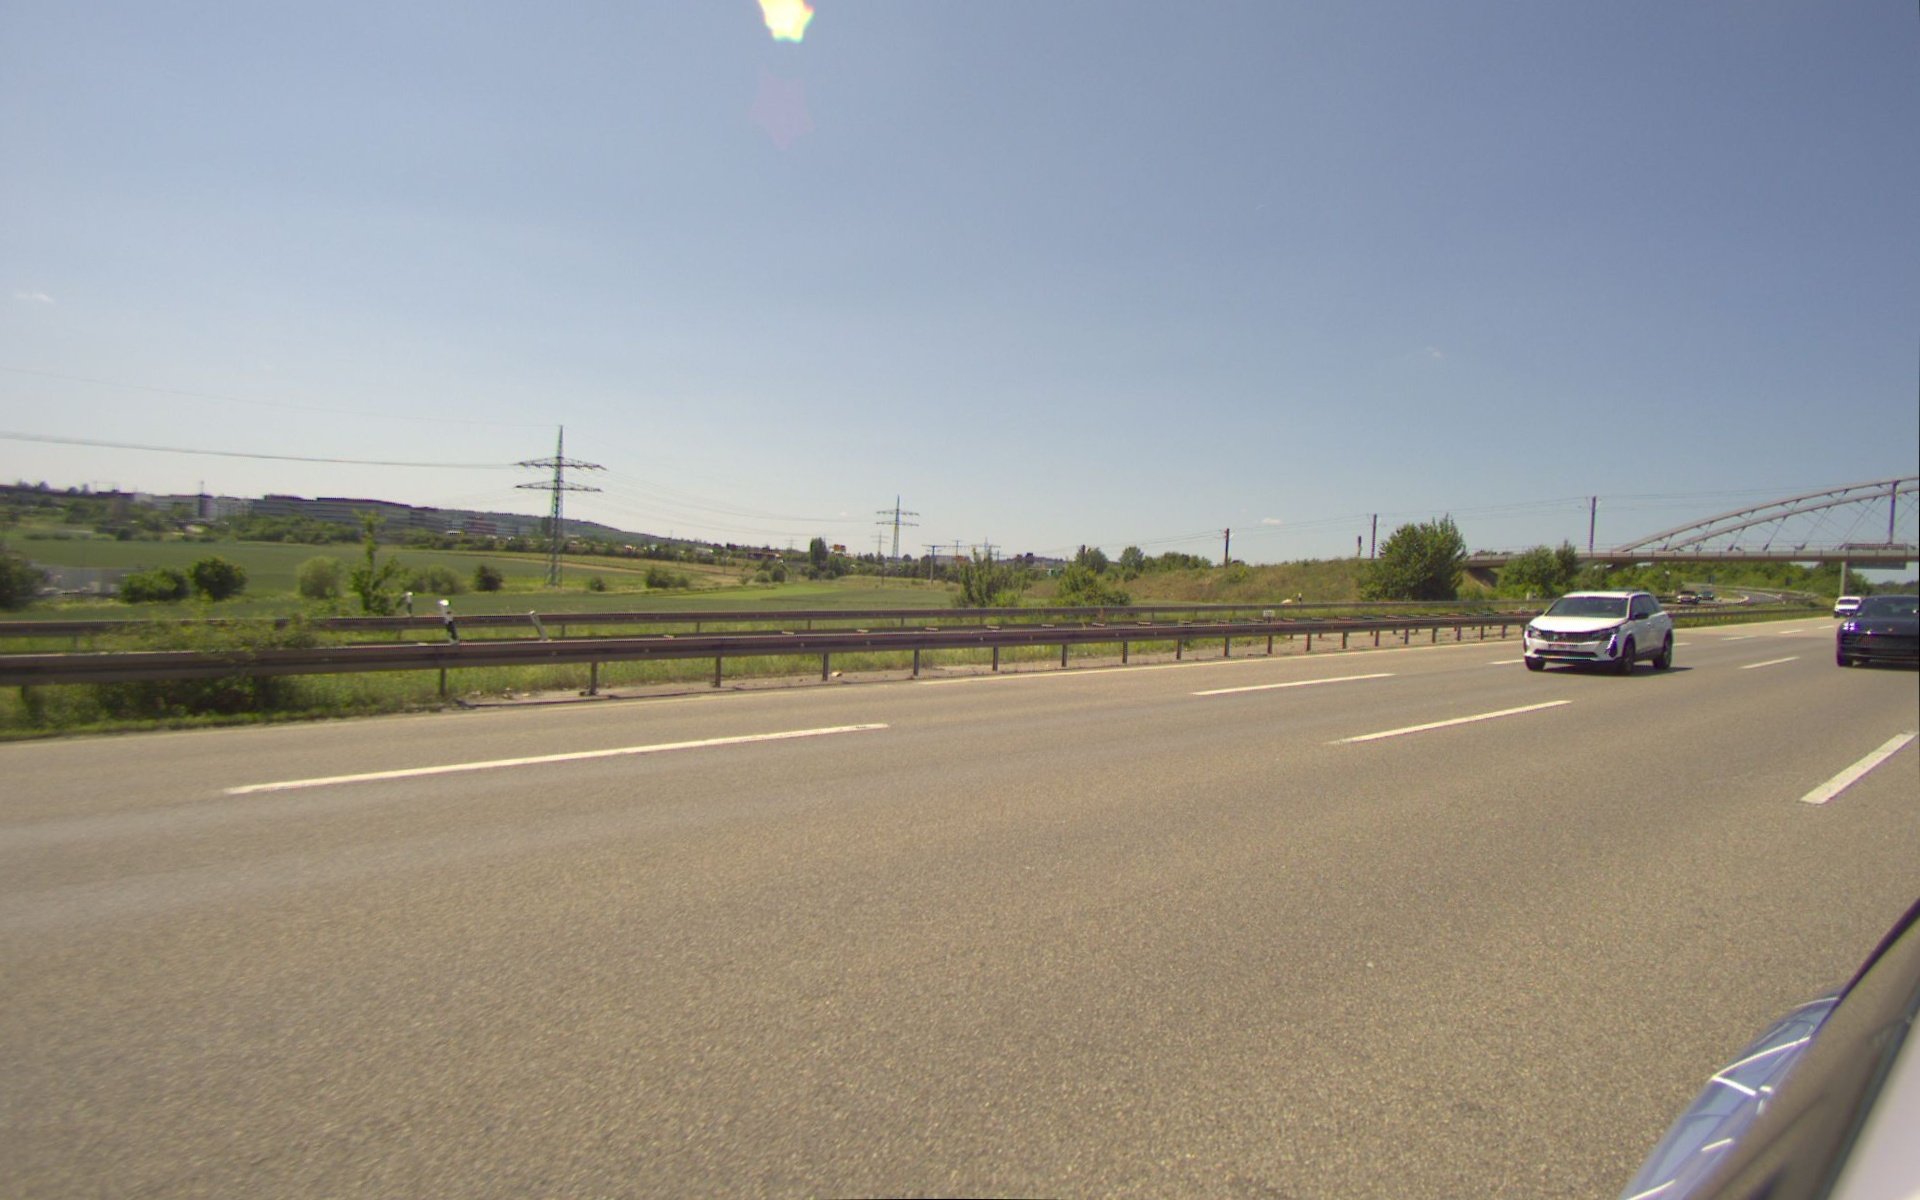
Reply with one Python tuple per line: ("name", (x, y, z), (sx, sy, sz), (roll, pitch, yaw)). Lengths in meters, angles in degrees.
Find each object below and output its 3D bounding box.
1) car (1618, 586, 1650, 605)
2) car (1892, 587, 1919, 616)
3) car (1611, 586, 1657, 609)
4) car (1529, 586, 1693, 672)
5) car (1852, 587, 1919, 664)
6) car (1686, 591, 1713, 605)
("car", (58.209, -0.392, 87.404), (1.699, 1.594, 4.064), (0, 1, 43))
("car", (64.473, 0.096, 68.585), (4.225, 1.943, 1.805), (0, 1, -45))
("car", (47.541, -0.214, 71.369), (4.056, 1.594, 1.702), (0, 1, -41))
("car", (13.599, 0.517, 21.028), (4.541, 1.611, 1.746), (0, 1, -42))
("car", (21.457, 0.526, 22.786), (1.926, 1.615, 4.067), (1, 1, 43))
("car", (85.026, -0.290, 116.335), (4.057, 1.594, 1.702), (0, 1, -42))
